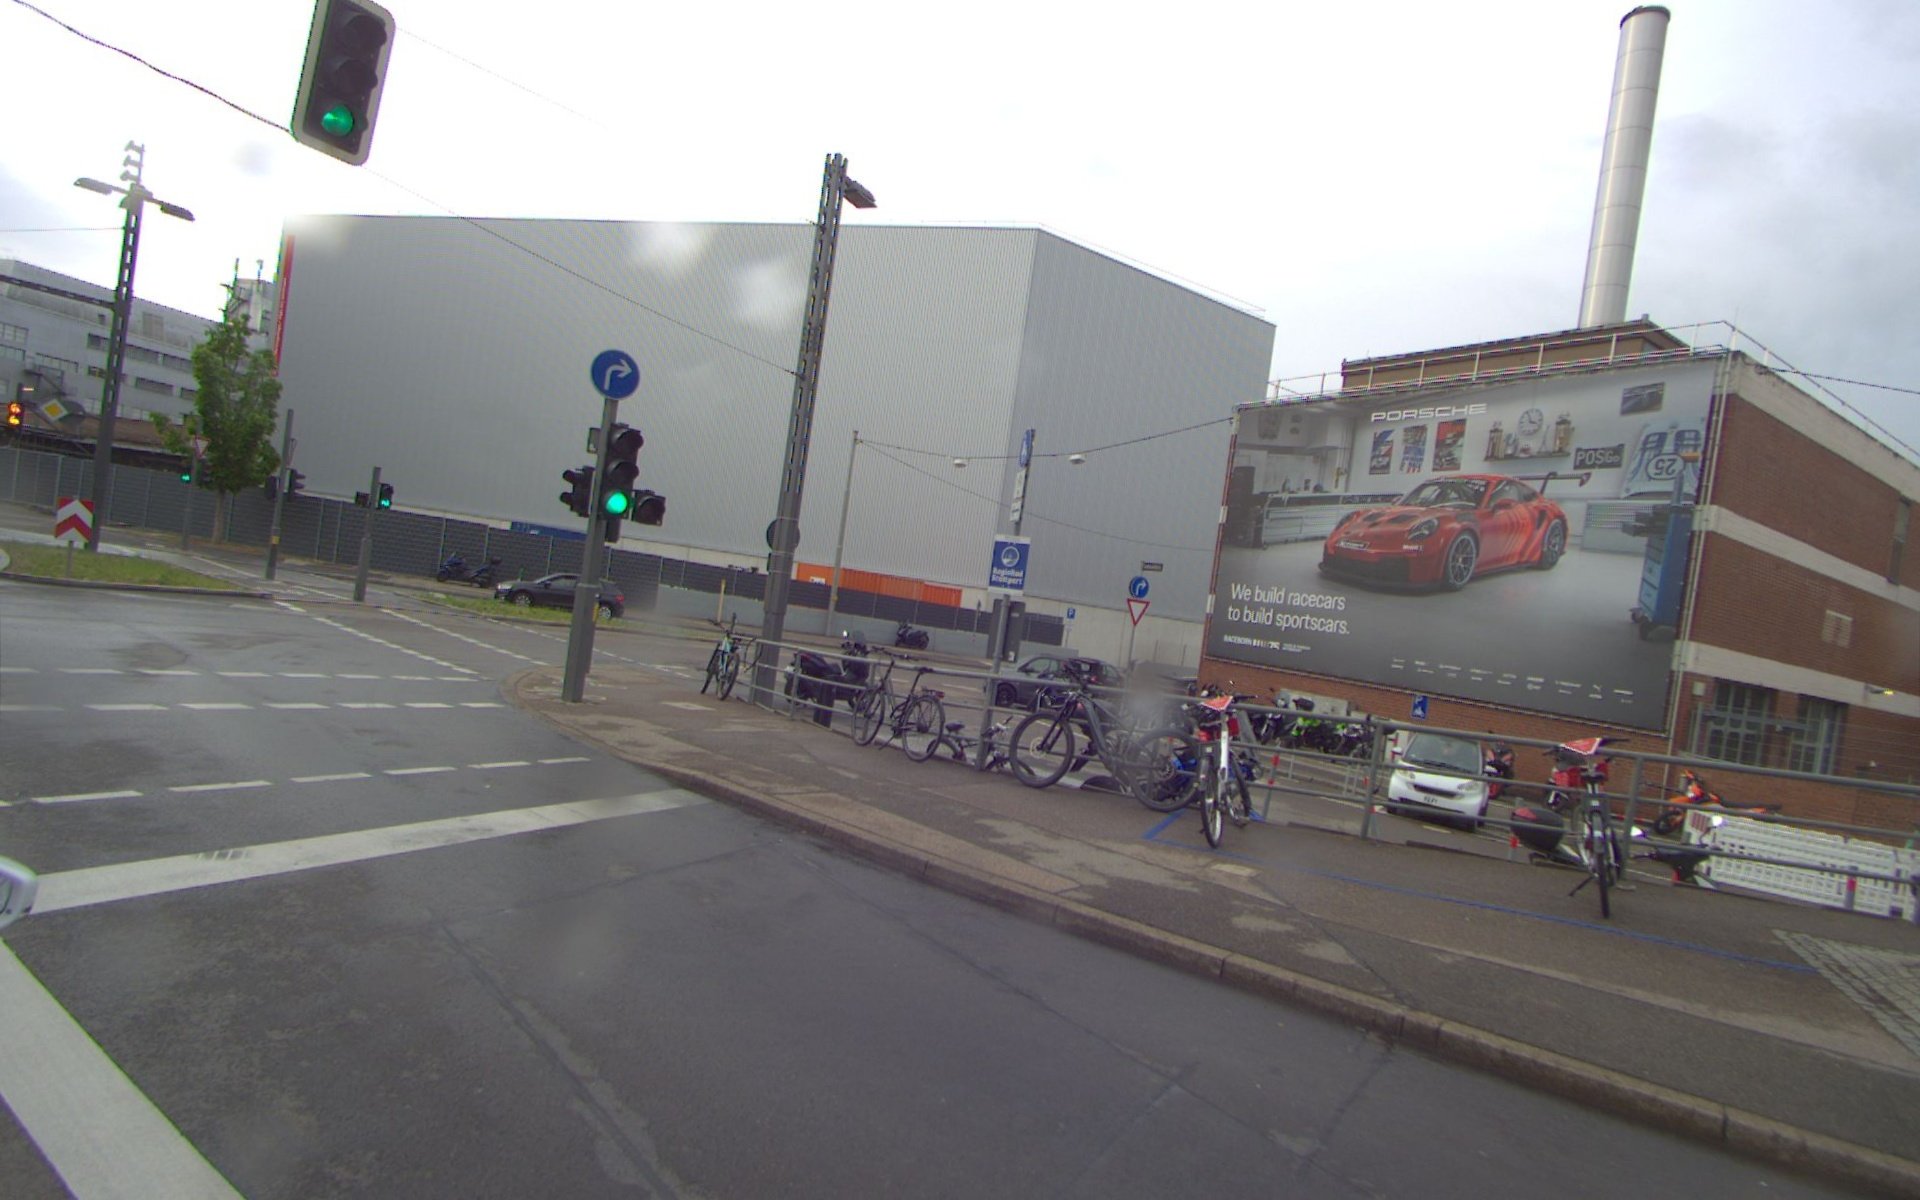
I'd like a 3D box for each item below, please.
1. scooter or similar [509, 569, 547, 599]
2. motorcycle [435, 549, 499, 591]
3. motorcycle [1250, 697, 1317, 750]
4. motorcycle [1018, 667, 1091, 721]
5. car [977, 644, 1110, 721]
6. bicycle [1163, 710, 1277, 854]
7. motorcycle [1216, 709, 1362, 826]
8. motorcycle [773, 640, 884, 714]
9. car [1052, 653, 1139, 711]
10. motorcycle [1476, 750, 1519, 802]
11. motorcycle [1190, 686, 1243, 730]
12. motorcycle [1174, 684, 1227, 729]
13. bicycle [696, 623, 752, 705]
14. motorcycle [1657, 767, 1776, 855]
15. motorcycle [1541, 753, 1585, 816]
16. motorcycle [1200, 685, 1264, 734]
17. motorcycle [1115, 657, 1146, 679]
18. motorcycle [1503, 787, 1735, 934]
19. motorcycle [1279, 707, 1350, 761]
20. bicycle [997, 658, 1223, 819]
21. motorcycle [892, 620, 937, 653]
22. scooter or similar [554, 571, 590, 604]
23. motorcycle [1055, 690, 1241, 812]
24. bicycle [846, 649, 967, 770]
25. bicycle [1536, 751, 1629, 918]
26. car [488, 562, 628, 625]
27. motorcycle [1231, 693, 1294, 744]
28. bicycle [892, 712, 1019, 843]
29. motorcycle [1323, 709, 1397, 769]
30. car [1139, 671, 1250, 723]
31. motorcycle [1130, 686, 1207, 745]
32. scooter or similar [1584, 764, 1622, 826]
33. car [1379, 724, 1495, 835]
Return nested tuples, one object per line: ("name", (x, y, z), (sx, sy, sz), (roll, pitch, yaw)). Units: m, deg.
("scooter or similar", (-17.769, -0.660, 41.358), (1.247, 1.041, 0.385), (9, 0, 0))
("motorcycle", (-19.655, -1.172, 40.125), (2.082, 1.326, 0.650), (10, -1, -33))
("motorcycle", (8.368, 3.198, 25.994), (1.695, 1.193, 0.541), (8, -2, -30))
("motorcycle", (2.395, 2.377, 25.348), (1.702, 1.159, 0.492), (8, -2, -25))
("car", (2.203, 2.192, 27.100), (3.190, 1.521, 1.624), (8, -1, -4))
("bicycle", (2.147, 1.414, 8.163), (0.414, 0.973, 1.744), (6, -2, 28))
("motorcycle", (3.172, 1.592, 9.709), (1.241, 0.901, 0.434), (6, -1, 22))
("motorcycle", (-2.326, 1.411, 18.052), (0.481, 1.158, 2.087), (5, -3, 41))
("car", (4.476, 2.716, 33.011), (1.530, 1.510, 2.745), (10, 0, 36))
("motorcycle", (11.651, 3.787, 21.785), (0.533, 0.984, 1.613), (5, -3, 36))
("motorcycle", (7.673, 3.220, 30.147), (0.538, 1.123, 1.639), (7, -2, -25))
("motorcycle", (7.011, 3.097, 29.419), (0.538, 1.133, 1.593), (7, -2, -25))
("bicycle", (-3.763, 0.985, 15.948), (0.416, 1.143, 2.064), (7, -2, -22))
("motorcycle", (14.470, 4.022, 19.271), (1.639, 1.349, 0.524), (6, -2, 21))
("motorcycle", (12.675, 3.840, 21.114), (0.576, 1.165, 1.717), (5, -3, 36))
("motorcycle", (7.609, 3.073, 28.163), (1.631, 1.193, 0.670), (8, -2, -30))
("motorcycle", (10.734, 4.281, 63.322), (0.622, 1.088, 1.906), (8, 0, -38))
("motorcycle", (5.518, 2.167, 8.494), (1.512, 0.901, 0.403), (6, -1, 18))
("motorcycle", (8.728, 3.303, 24.766), (1.789, 1.132, 0.474), (8, -2, -28))
("bicycle", (1.373, 1.253, 9.427), (1.981, 1.189, 0.400), (5, -1, 30))
("motorcycle", (-2.335, 1.863, 51.610), (2.082, 1.393, 0.650), (10, -1, -33))
("scooter or similar", (-16.352, -0.531, 42.397), (1.253, 1.213, 0.423), (9, 0, -19))
("motorcycle", (1.822, 1.458, 9.962), (1.722, 0.906, 0.545), (5, -2, 44))
("bicycle", (-0.625, 1.158, 10.998), (0.344, 1.096, 1.728), (6, -1, -35))
("bicycle", (4.441, 1.610, 7.190), (0.414, 0.933, 1.614), (7, -1, 32))
("car", (-13.258, -0.210, 33.221), (3.958, 1.442, 1.708), (9, -1, -30))
("motorcycle", (8.067, 3.166, 26.802), (1.631, 1.193, 0.541), (8, -2, -30))
("bicycle", (-0.086, 1.872, 10.890), (0.344, 1.096, 1.728), (6, -1, -35))
("motorcycle", (9.587, 3.342, 24.096), (1.788, 1.253, 0.540), (8, 0, -30))
("car", (8.567, 3.549, 36.593), (4.070, 1.460, 1.554), (9, -3, -35))
("motorcycle", (4.900, 2.708, 23.737), (0.539, 1.123, 1.850), (8, -3, -33))
("scooter or similar", (13.229, 3.982, 20.671), (0.496, 1.109, 1.635), (5, -3, 36))
("car", (8.880, 3.200, 18.563), (1.541, 1.506, 3.997), (8, -2, 29))
